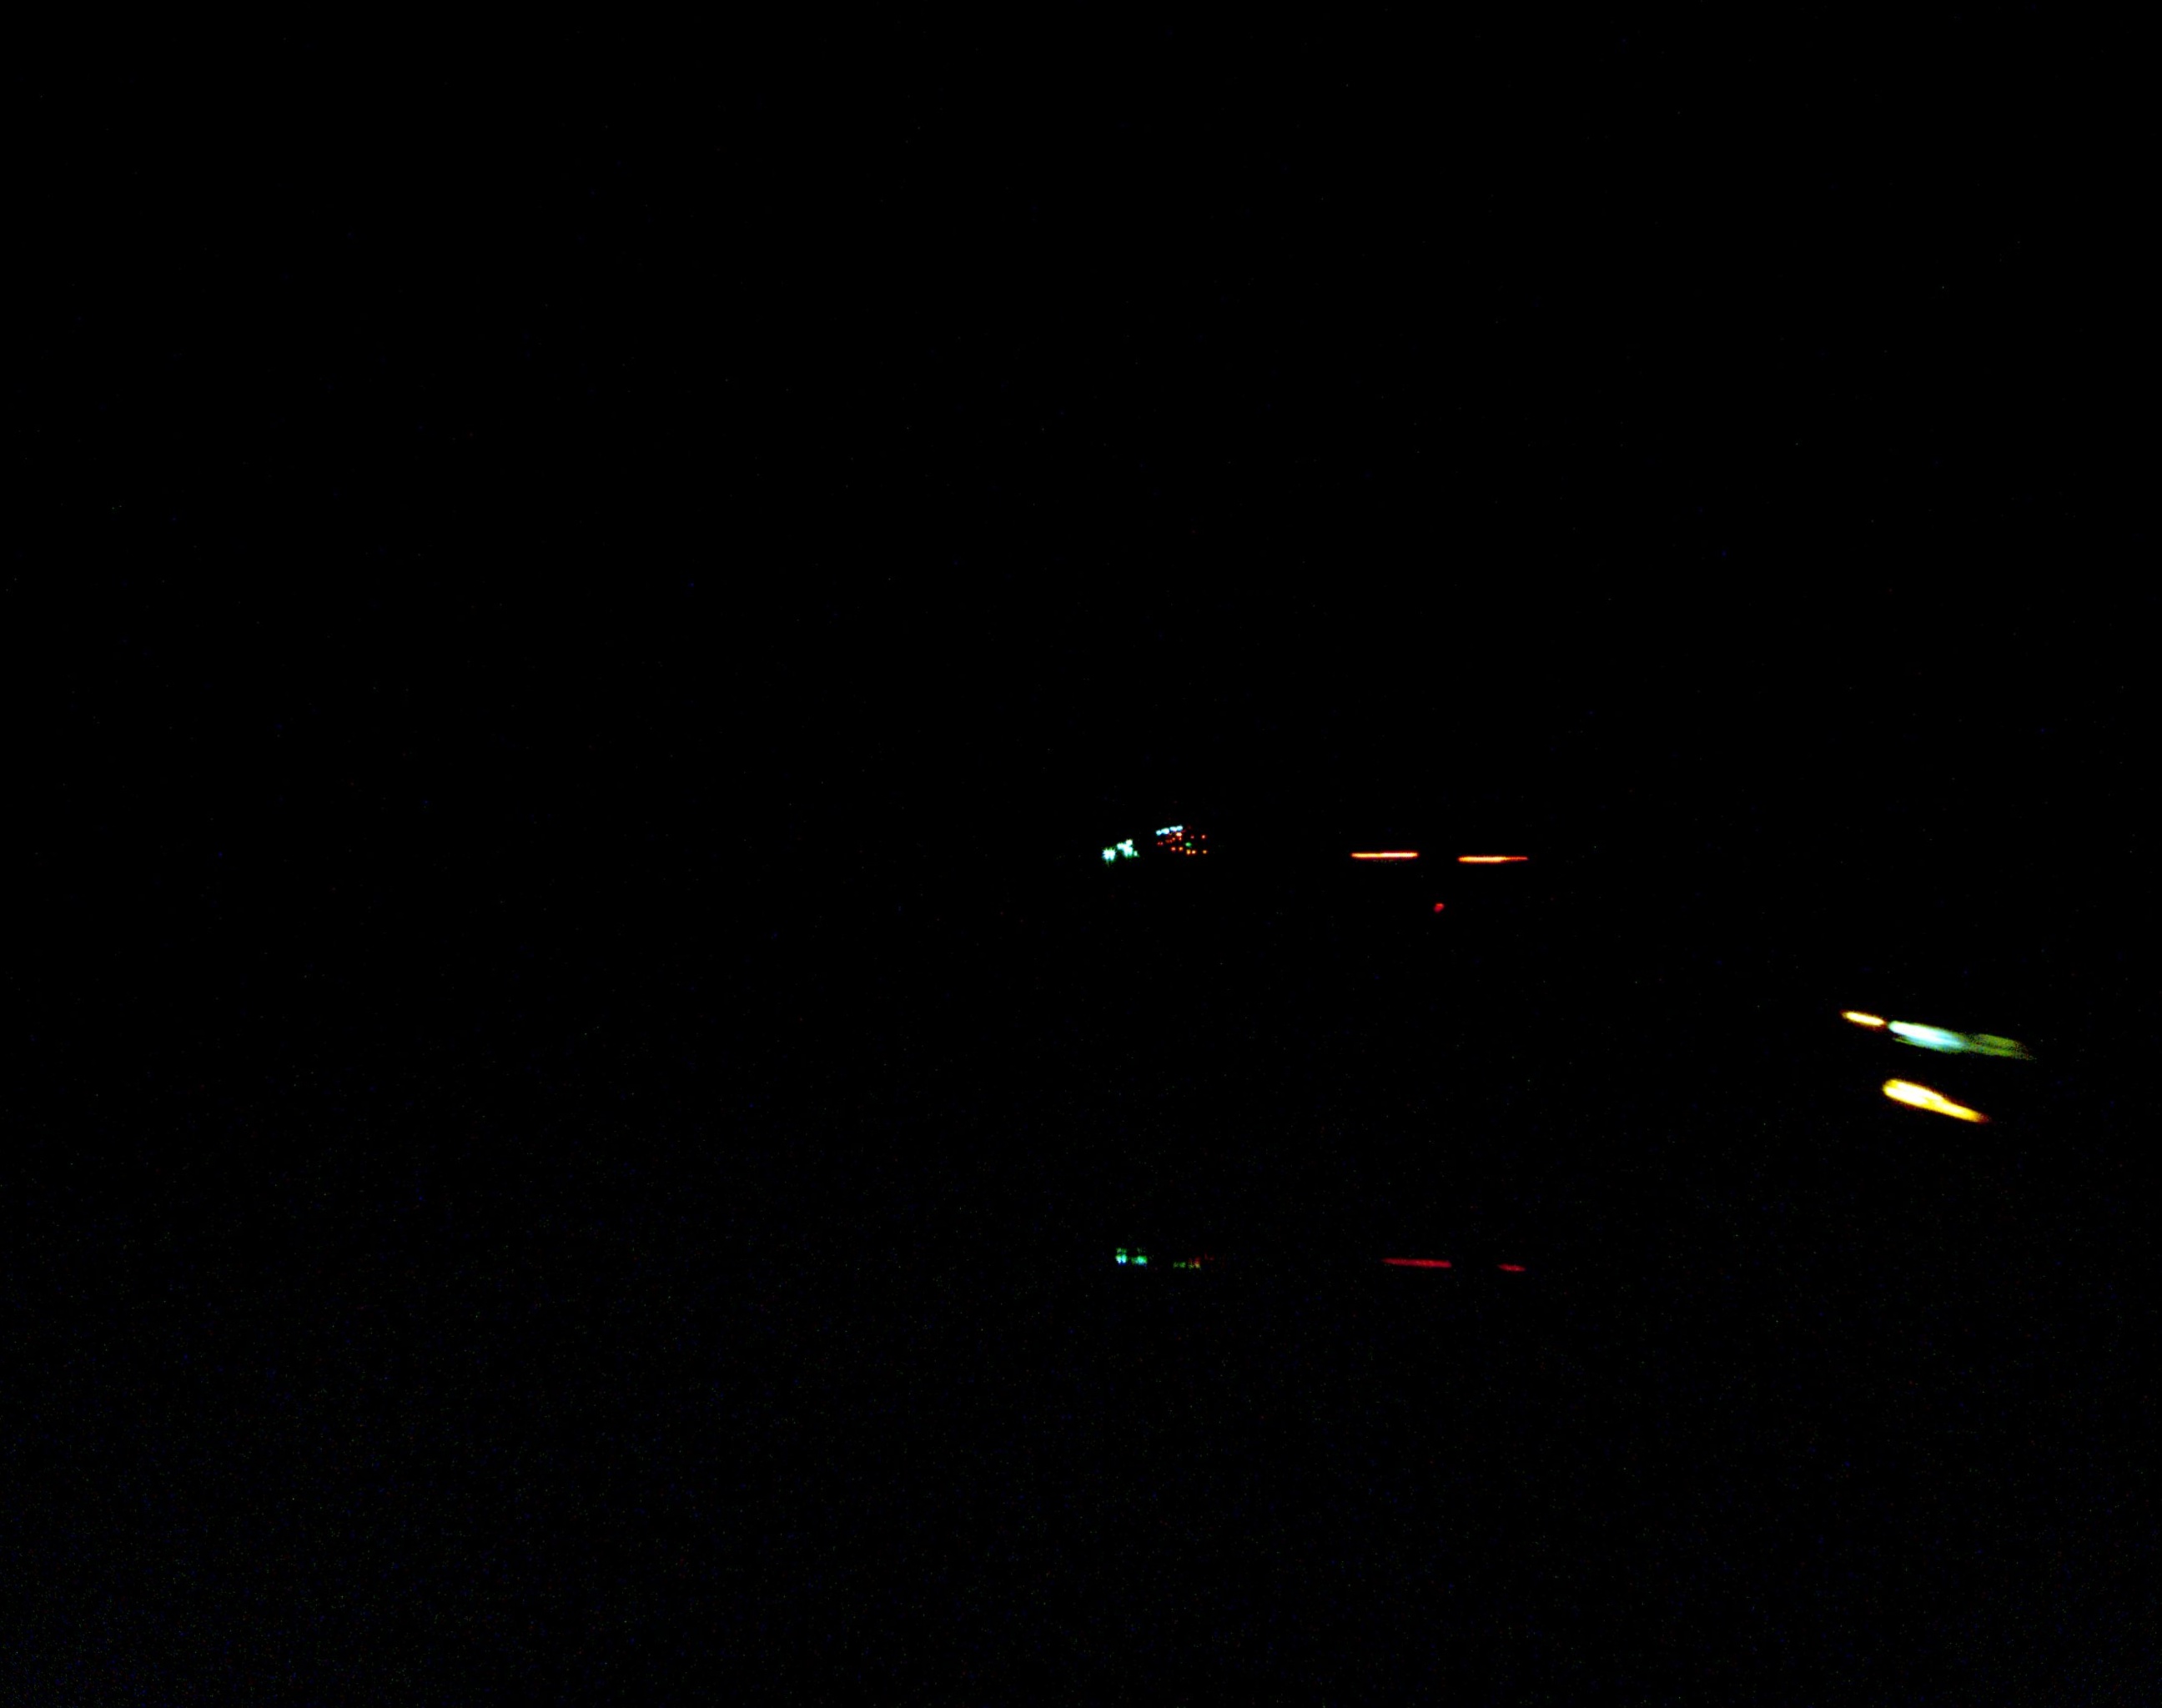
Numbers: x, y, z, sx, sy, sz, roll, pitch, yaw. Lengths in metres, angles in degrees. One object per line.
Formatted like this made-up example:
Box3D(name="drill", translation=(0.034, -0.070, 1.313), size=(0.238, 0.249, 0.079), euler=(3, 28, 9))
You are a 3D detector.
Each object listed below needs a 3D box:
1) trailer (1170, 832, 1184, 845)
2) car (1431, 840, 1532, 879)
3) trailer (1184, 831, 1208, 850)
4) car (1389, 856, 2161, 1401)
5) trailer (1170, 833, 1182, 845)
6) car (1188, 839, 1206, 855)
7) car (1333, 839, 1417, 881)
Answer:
Box3D(name="trailer", translation=(32.054, -5.095, 253.229), size=(3.438, 3.957, 14.049), euler=(-2, 1, 3))
Box3D(name="car", translation=(16.729, 0.212, 32.014), size=(2.015, 1.459, 4.208), euler=(-2, 0, 0))
Box3D(name="trailer", translation=(25.190, -3.021, 167.188), size=(3.438, 3.957, 13.811), euler=(-2, 1, 2))
Box3D(name="car", translation=(4.102, 0.808, 4.989), size=(1.998, 1.509, 5.651), euler=(-2, 0, 2))
Box3D(name="trailer", translation=(32.422, -5.205, 260.790), size=(3.438, 3.957, 7.352), euler=(-2, 1, 3))
Box3D(name="car", translation=(19.138, -1.095, 125.798), size=(2.106, 2.503, 6.215), euler=(-2, 0, 1))
Box3D(name="car", translation=(12.609, 0.229, 32.941), size=(2.015, 1.660, 4.483), euler=(-2, 0, 2))
